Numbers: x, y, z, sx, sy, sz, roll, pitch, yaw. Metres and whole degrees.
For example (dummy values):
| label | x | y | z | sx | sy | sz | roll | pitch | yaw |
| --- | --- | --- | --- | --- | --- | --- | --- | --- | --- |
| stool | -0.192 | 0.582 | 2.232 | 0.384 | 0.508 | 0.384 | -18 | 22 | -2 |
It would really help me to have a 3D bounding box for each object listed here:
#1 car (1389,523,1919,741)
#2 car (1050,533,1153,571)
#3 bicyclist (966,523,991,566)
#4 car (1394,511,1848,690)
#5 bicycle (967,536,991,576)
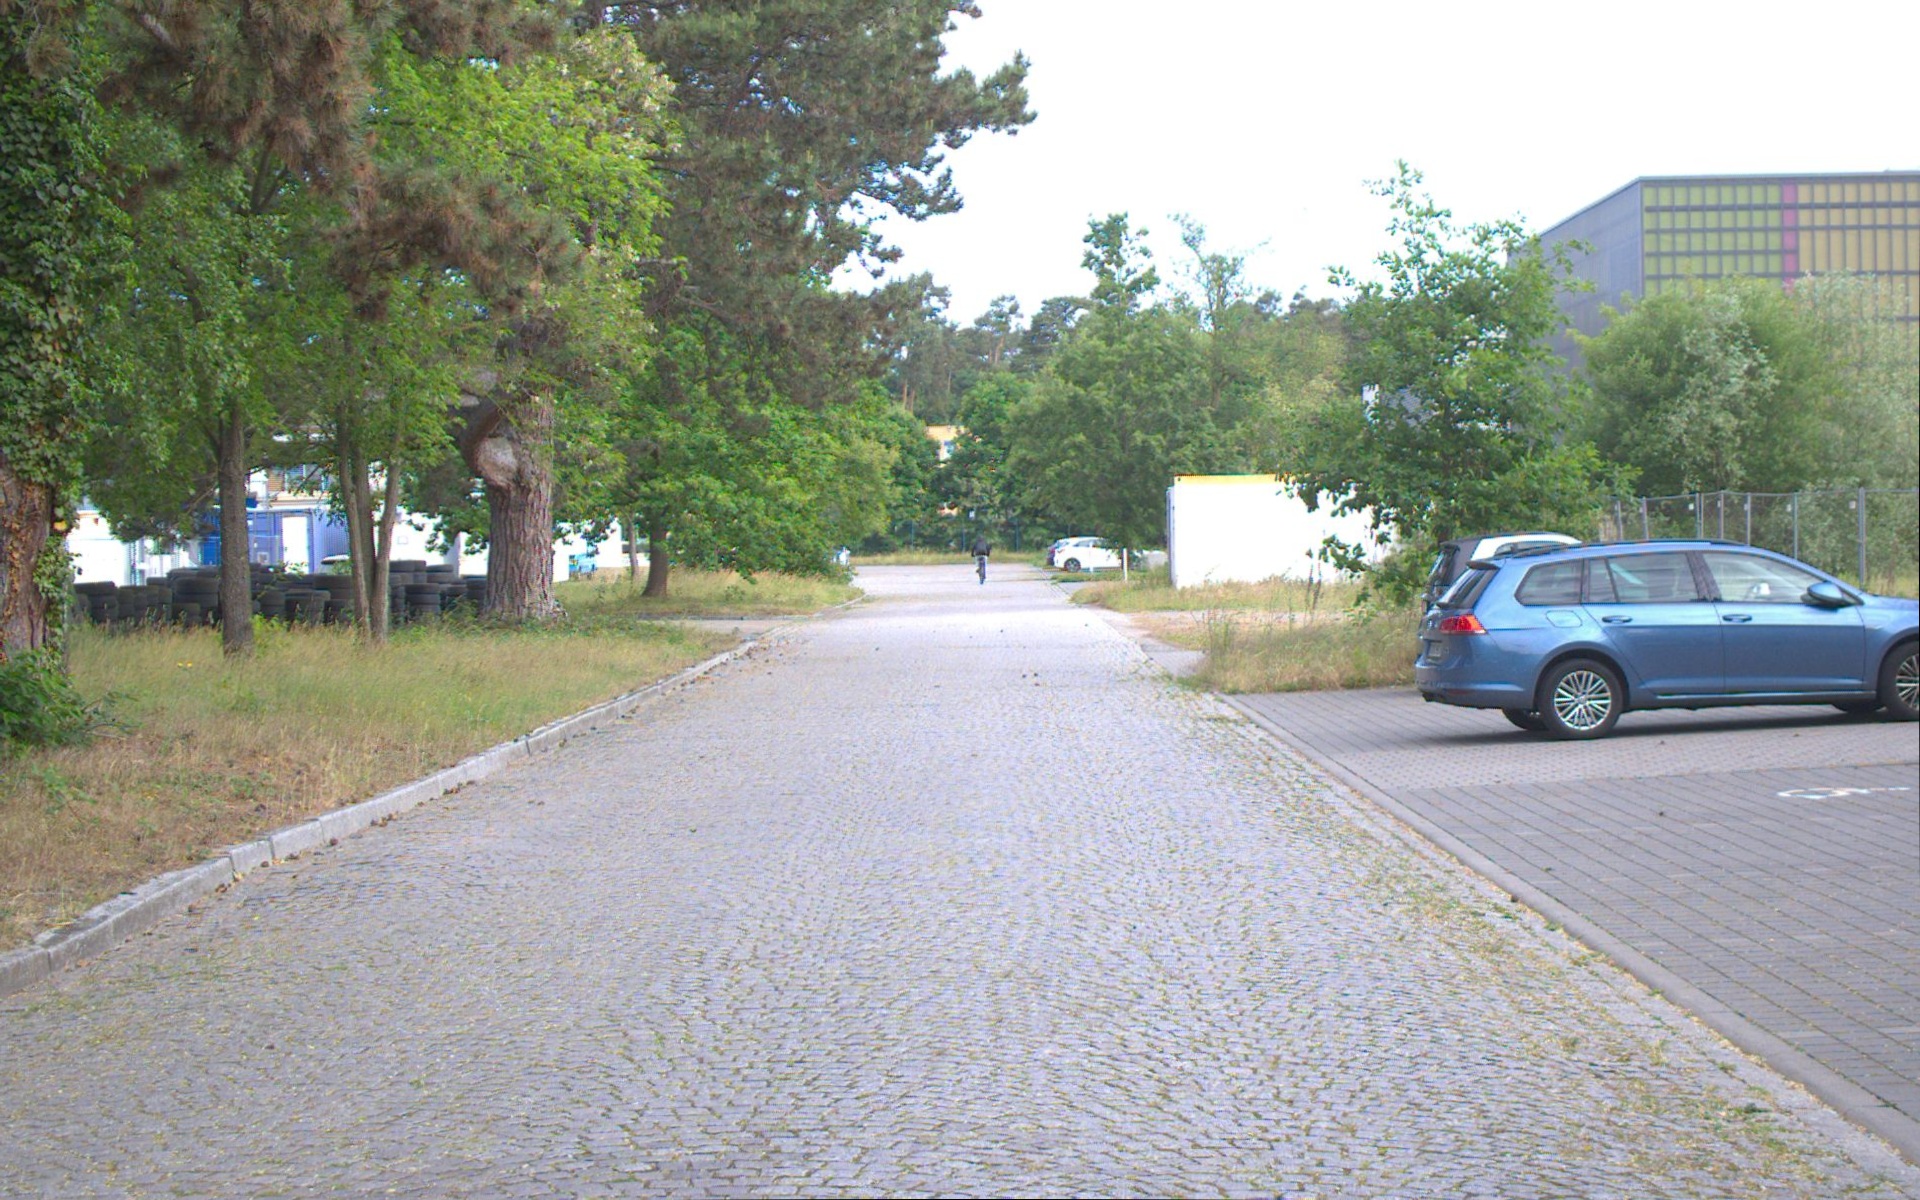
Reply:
| label | x | y | z | sx | sy | sz | roll | pitch | yaw |
| --- | --- | --- | --- | --- | --- | --- | --- | --- | --- |
| car | 5.766 | 0.216 | 26.918 | 4.480 | 1.457 | 1.935 | -3 | 1 | -2 |
| car | 6.033 | -2.060 | 146.730 | 4.322 | 1.544 | 2.000 | -1 | 1 | 2 |
| bicyclist | 0.661 | -1.996 | 123.764 | 0.897 | 1.537 | 0.868 | 0 | 2 | -1 |
| car | 6.551 | -0.013 | 34.360 | 4.107 | 1.567 | 1.765 | -3 | 1 | -2 |
| bicycle | 0.671 | -1.582 | 123.719 | 0.823 | 1.372 | 2.043 | 0 | 2 | -1 |
